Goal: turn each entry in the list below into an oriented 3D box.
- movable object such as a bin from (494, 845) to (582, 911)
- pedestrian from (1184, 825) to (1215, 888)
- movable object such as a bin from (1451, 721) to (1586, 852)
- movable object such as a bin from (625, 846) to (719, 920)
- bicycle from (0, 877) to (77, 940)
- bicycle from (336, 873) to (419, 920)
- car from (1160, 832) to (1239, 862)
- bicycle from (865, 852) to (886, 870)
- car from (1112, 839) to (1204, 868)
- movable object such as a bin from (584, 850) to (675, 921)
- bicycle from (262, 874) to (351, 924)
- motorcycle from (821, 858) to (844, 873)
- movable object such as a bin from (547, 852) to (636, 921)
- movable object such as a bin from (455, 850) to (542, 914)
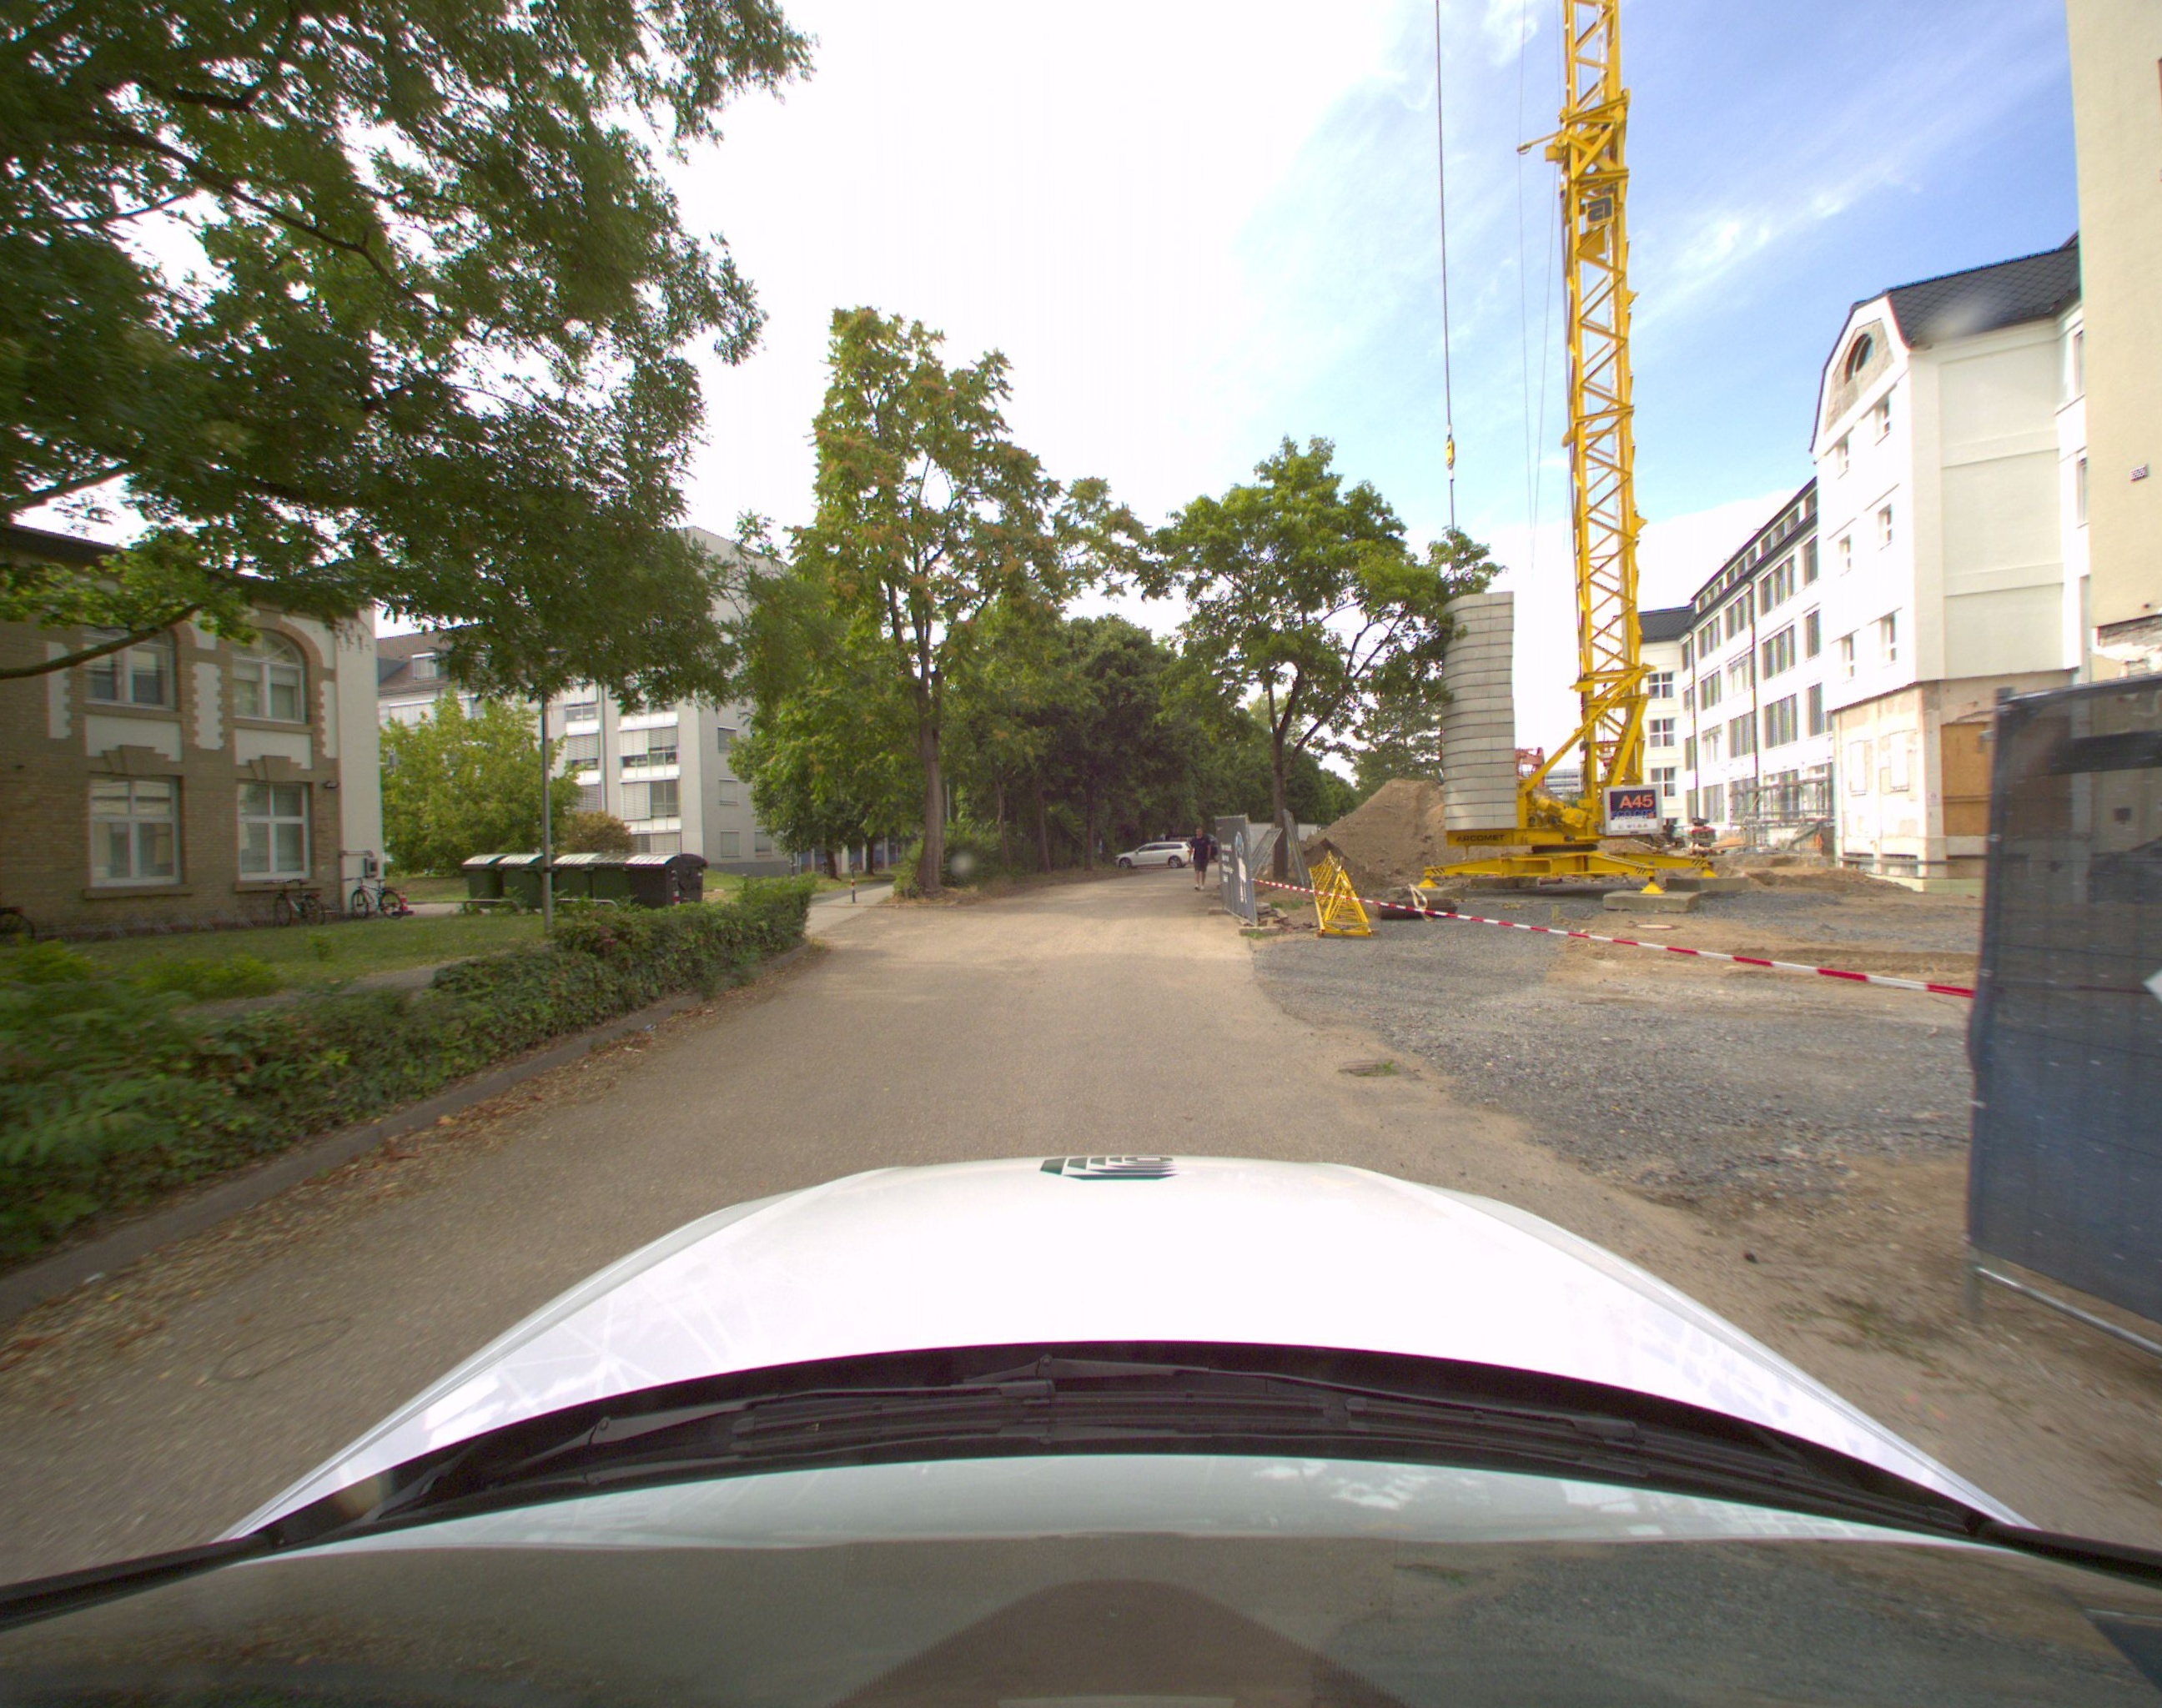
[{"bbox_3d":[-12.401,0.531,18.608,1.268,1.430,1.128,-1,1,23],"label":"movable object such as a bin"},{"bbox_3d":[3.425,0.063,23.561,0.741,1.789,0.734,-1,0,18],"label":"pedestrian"},{"bbox_3d":[25.446,-3.609,46.984,3.809,6.668,11.053,0,1,45],"label":"movable object such as a bin"},{"bbox_3d":[-8.369,0.569,16.685,1.268,1.430,1.128,-1,1,23],"label":"movable object such as a bin"},{"bbox_3d":[-19.172,0.973,14.396,1.966,1.043,0.594,-2,1,-3],"label":"bicycle"},{"bbox_3d":[-16.700,1.004,19.338,1.954,1.043,0.598,-1,1,21],"label":"bicycle"},{"bbox_3d":[8.185,-0.463,56.035,5.002,1.953,2.011,-1,1,21],"label":"car"},{"bbox_3d":[-13.953,0.474,55.422,0.645,1.181,1.906,-1,1,10],"label":"bicycle"},{"bbox_3d":[4.286,-0.040,45.212,4.754,1.488,2.009,-1,1,17],"label":"car"},{"bbox_3d":[-9.683,0.648,17.482,1.268,1.430,1.128,-1,1,23],"label":"movable object such as a bin"},{"bbox_3d":[-17.168,0.982,18.052,1.954,1.043,0.598,-1,1,21],"label":"bicycle"},{"bbox_3d":[-21.762,0.992,71.449,0.660,1.290,2.159,-1,1,22],"label":"motorcycle"},{"bbox_3d":[-10.874,0.700,18.120,1.268,1.430,1.128,-1,1,23],"label":"movable object such as a bin"},{"bbox_3d":[-13.669,0.635,19.130,1.268,1.430,1.128,-1,1,23],"label":"movable object such as a bin"}]
